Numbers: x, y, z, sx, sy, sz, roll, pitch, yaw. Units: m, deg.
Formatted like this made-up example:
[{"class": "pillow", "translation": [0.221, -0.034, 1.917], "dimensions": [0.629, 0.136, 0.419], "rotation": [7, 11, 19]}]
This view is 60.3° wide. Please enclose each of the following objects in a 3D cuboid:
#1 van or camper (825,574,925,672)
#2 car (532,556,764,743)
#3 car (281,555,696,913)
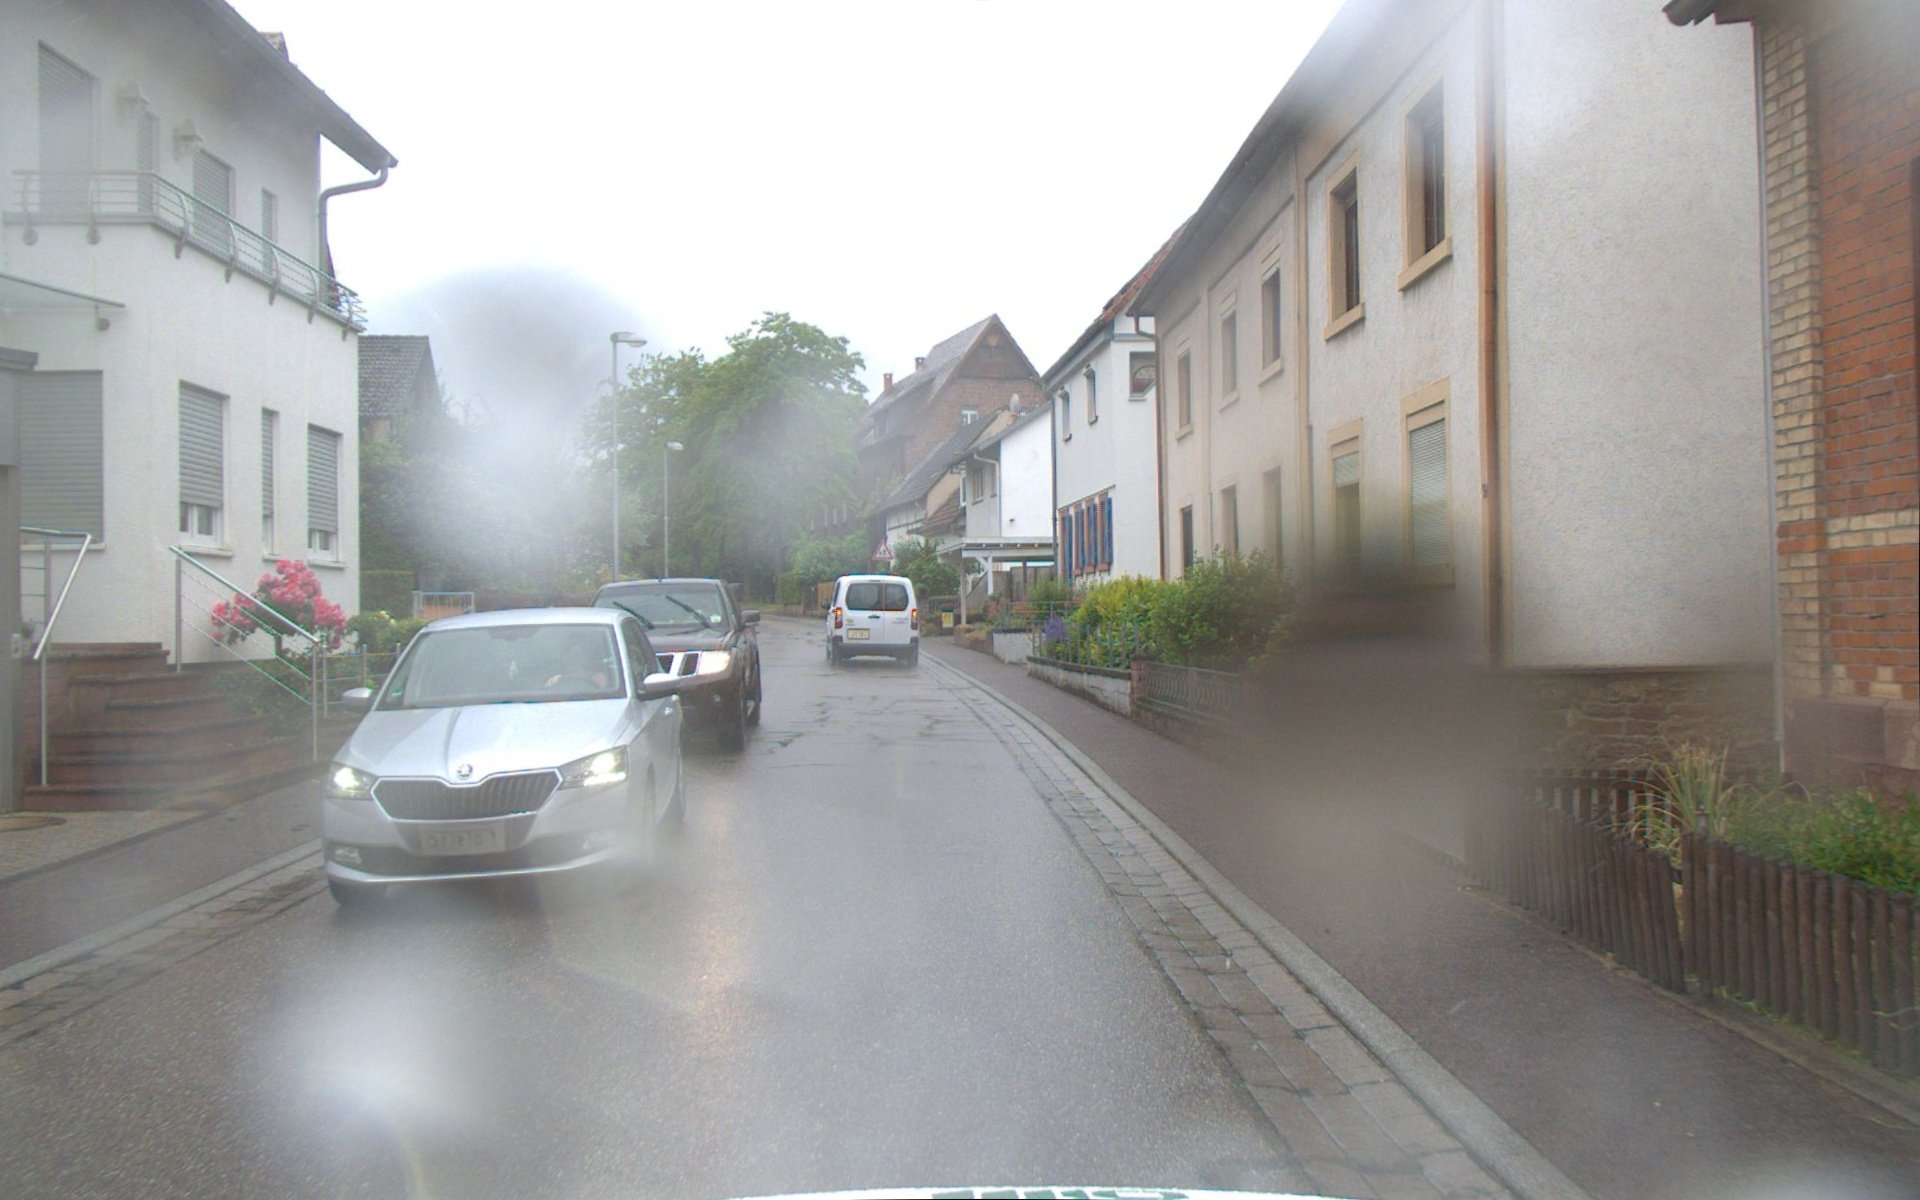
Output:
[{"class": "van or camper", "translation": [-1.725, 0.433, 34.531], "dimensions": [1.904, 1.883, 3.999], "rotation": [-1, 0, -2]}, {"class": "car", "translation": [-3.165, 0.458, 17.693], "dimensions": [1.955, 1.707, 4.778], "rotation": [-1, 0, -5]}, {"class": "car", "translation": [-2.506, 0.625, 9.700], "dimensions": [1.656, 1.592, 3.928], "rotation": [-2, 0, -7]}]
